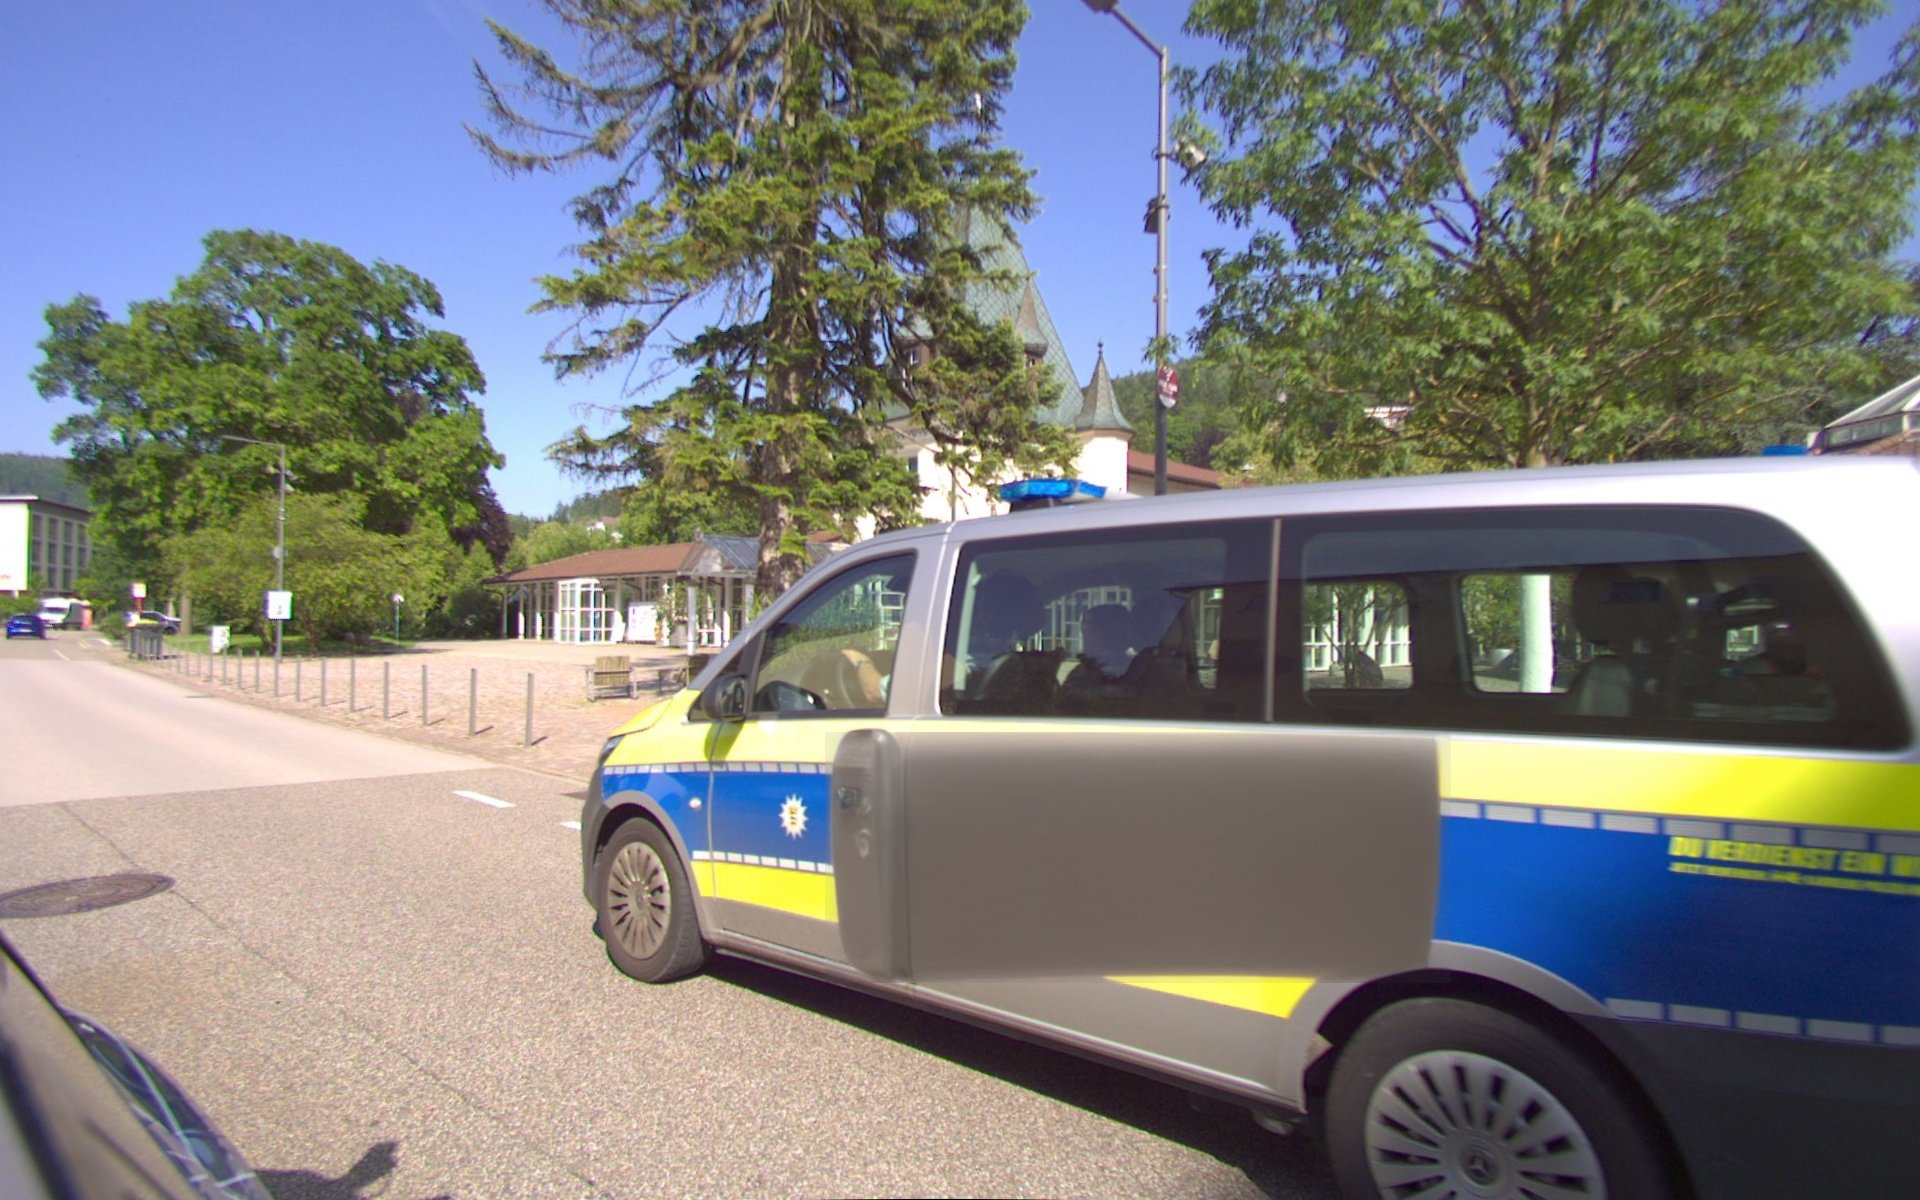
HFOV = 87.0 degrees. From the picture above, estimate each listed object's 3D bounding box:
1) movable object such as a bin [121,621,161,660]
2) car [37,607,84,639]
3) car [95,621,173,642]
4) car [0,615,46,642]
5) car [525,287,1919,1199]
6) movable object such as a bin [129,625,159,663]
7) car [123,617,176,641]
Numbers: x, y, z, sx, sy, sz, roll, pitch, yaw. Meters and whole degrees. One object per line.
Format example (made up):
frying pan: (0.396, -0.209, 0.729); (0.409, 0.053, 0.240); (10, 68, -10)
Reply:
movable object such as a bin: (-31.231, 1.539, 38.571); (1.066, 1.438, 1.378); (0, -1, -44)
car: (-82.207, 2.086, 92.532); (1.759, 2.812, 5.932); (0, -1, -27)
car: (-60.336, 2.278, 73.961); (1.713, 1.442, 4.229); (-1, -1, 42)
car: (-55.779, 1.674, 60.235); (4.189, 1.474, 1.721); (0, -4, 44)
car: (0.556, 0.547, 3.657); (5.014, 1.968, 1.835); (-1, -3, 40)
movable object such as a bin: (-30.004, 1.607, 37.196); (0.746, 1.352, 1.295); (0, -1, -44)
car: (-53.537, 1.893, 66.922); (2.615, 1.558, 1.686); (0, -1, -35)
